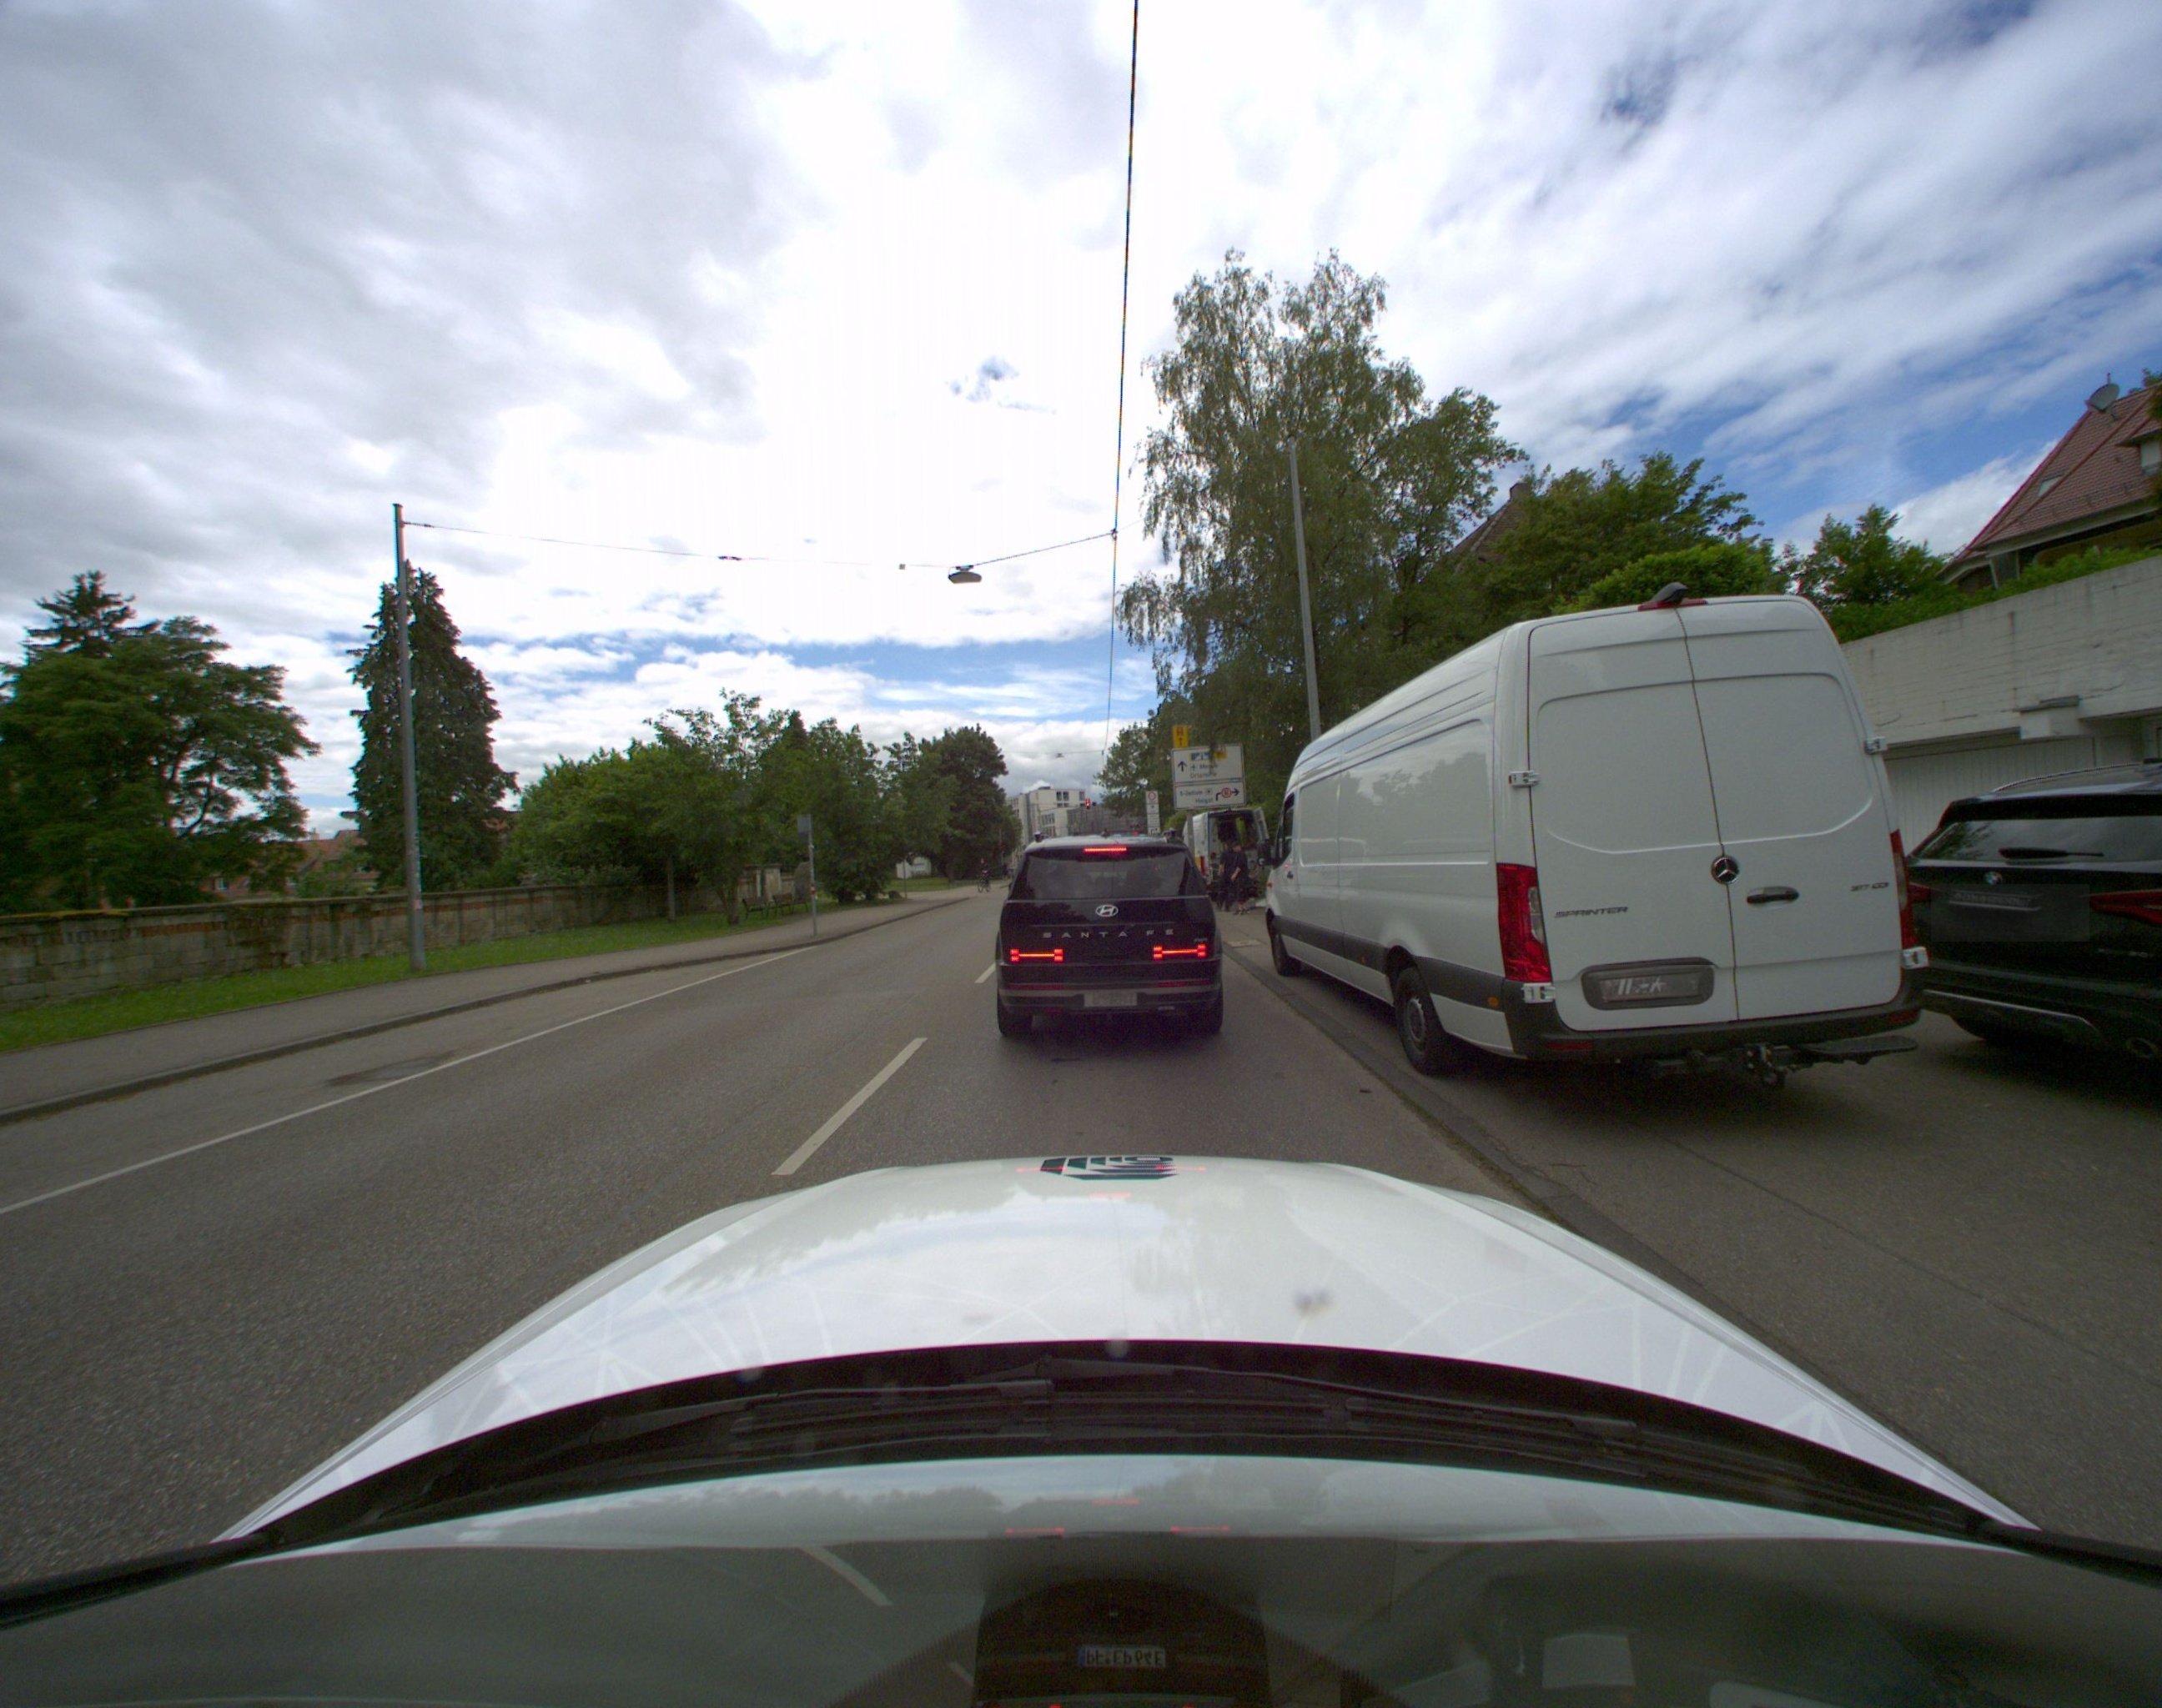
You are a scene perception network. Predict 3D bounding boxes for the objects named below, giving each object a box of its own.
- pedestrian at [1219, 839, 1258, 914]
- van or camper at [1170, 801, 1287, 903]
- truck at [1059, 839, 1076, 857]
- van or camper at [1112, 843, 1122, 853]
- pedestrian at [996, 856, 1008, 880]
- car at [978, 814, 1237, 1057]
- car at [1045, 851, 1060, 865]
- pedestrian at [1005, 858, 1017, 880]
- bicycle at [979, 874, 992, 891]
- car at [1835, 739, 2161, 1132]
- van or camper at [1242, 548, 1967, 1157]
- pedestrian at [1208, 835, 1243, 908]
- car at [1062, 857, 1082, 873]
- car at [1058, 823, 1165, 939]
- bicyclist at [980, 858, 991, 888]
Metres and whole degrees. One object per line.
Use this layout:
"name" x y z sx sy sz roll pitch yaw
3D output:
"pedestrian" 3.621 0.505 18.816 0.732 1.643 0.803 -4 -1 8
"van or camper" 4.334 0.010 25.304 2.332 2.494 6.603 -6 -1 1
"truck" -3.133 -1.364 188.638 3.102 3.859 9.606 -3 0 -4
"van or camper" 7.689 -1.250 172.575 1.791 1.999 3.821 0 -1 -2
"pedestrian" -6.517 1.146 67.403 0.826 2.014 1.048 0 -1 4
"car" 0.258 0.617 7.982 1.890 1.776 3.995 0 -1 2
"car" -5.008 0.698 144.293 2.328 2.315 4.950 -3 0 -4
"pedestrian" -5.702 1.233 66.269 0.764 1.748 0.904 -2 -1 1
"bicycle" -5.418 1.609 46.184 0.493 0.964 1.749 0 -1 2
"car" 6.785 0.212 4.042 4.365 1.675 1.696 -4 -1 2
"van or camper" 3.057 0.016 7.046 1.984 2.625 6.546 -6 -1 2
"pedestrian" 3.483 0.418 19.670 0.784 1.721 0.754 0 -1 9
"car" -0.890 1.098 83.325 1.750 1.403 4.416 -5 -1 2
"car" 0.609 0.491 16.446 1.890 2.042 3.995 0 -1 2
"bicyclist" -5.417 1.072 46.168 0.486 1.684 0.588 0 -1 1
